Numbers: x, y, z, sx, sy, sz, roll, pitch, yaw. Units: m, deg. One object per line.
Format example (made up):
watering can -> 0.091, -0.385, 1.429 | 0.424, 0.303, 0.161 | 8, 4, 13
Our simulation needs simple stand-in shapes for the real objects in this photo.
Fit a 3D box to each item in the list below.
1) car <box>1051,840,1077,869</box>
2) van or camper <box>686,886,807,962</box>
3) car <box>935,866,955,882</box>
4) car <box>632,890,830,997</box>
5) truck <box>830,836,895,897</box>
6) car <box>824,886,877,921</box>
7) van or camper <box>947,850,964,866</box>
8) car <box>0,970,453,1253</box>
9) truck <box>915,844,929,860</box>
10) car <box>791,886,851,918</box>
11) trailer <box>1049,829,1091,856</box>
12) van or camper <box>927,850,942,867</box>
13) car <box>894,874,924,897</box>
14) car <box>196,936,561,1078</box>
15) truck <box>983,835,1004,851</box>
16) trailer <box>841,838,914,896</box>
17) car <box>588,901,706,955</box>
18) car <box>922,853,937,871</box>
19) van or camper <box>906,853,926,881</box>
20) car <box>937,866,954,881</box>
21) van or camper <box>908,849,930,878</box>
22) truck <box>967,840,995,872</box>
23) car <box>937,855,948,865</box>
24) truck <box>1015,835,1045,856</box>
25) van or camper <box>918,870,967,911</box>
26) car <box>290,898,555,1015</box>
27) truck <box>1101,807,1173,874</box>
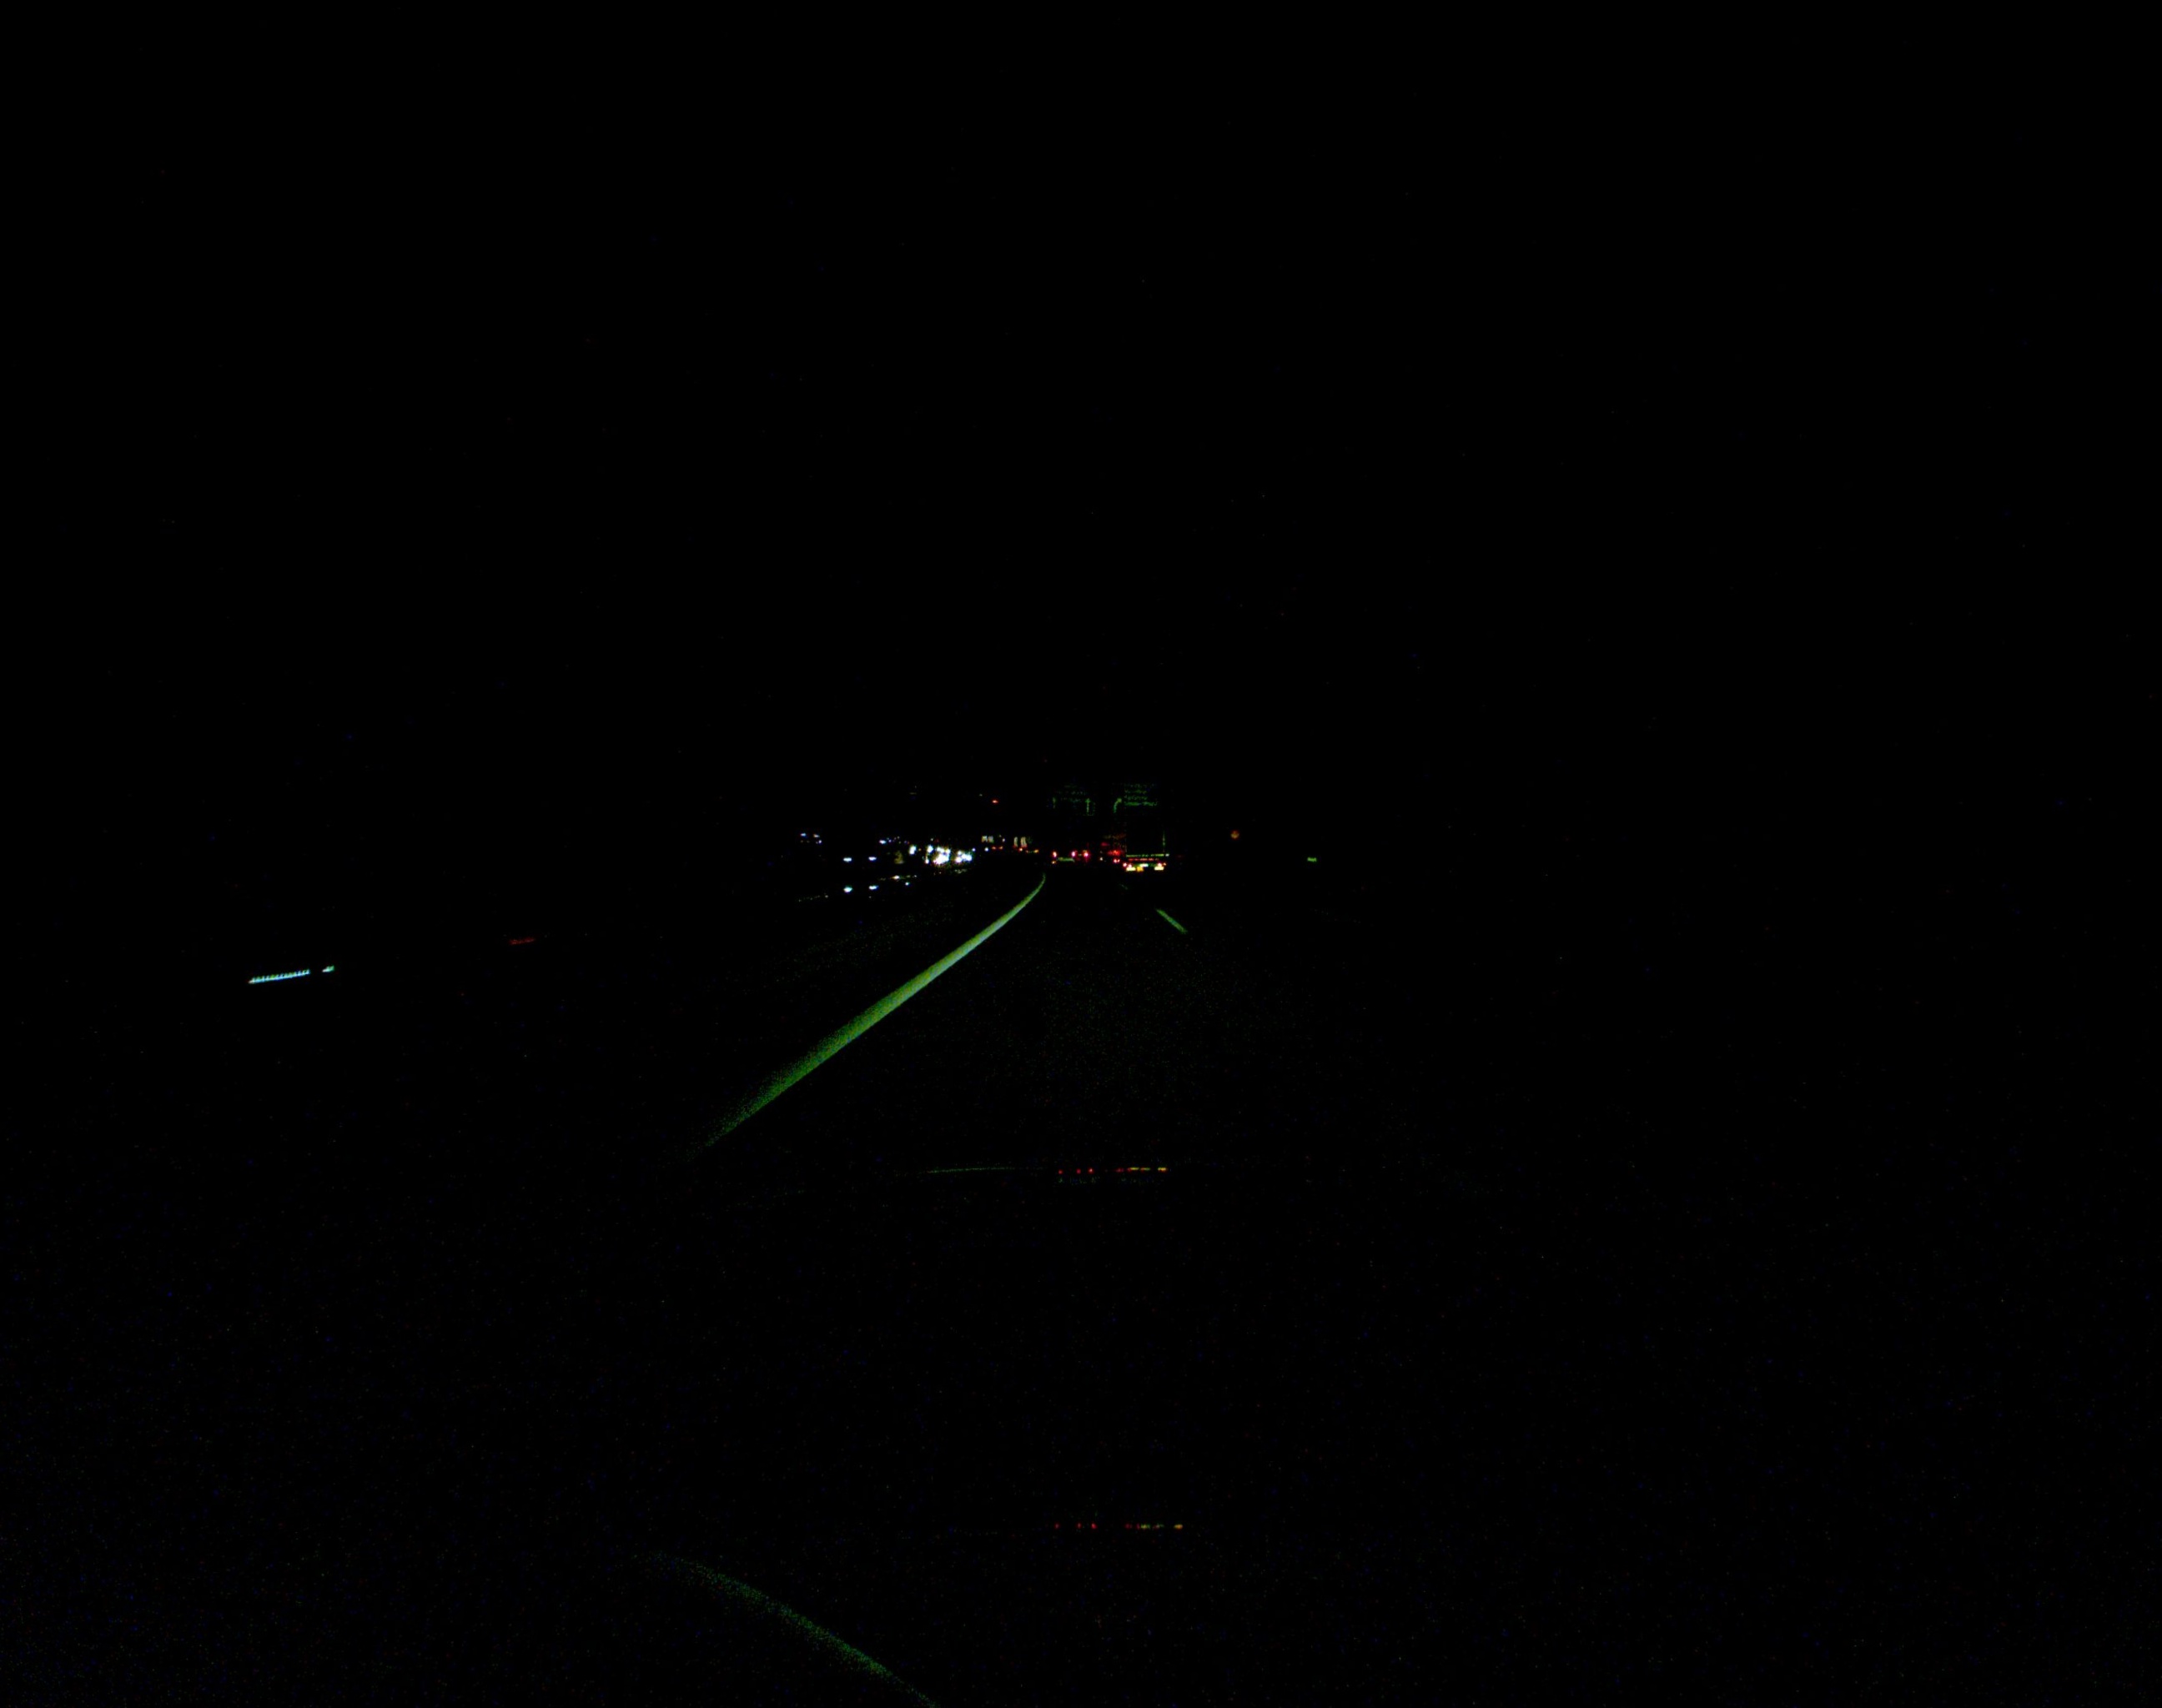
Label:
car -> -1.684, 0.061, 79.341 | 2.332, 2.640, 5.241 | 1, 0, -3
van or camper -> -11.076, 2.227, 27.466 | 1.988, 2.013, 5.217 | -2, 0, -2
car -> -13.852, 1.991, 83.092 | 1.598, 1.442, 3.993 | -4, 0, -5
car -> -7.550, 1.844, 18.293 | 2.132, 1.706, 5.112 | -2, 0, 0
truck -> -16.526, 0.882, 62.102 | 3.412, 4.223, 6.274 | -3, 0, -4
car -> -11.754, 2.492, 41.792 | 1.596, 1.442, 3.998 | -2, 0, -1
van or camper -> -22.232, 0.667, 144.162 | 2.447, 2.760, 6.463 | -3, 0, -12
car -> -9.063, 2.252, 7.745 | 2.132, 1.450, 5.112 | -2, 0, 0
truck -> -36.636, -0.465, 187.732 | 2.381, 3.259, 7.679 | -4, 1, -17
car -> -13.351, 2.437, 42.042 | 1.594, 1.442, 4.003 | 0, 0, 3
trailer -> -1.960, -1.956, 132.904 | 2.862, 4.066, 13.125 | -2, 2, -18
van or camper -> -25.622, 0.816, 142.140 | 2.447, 2.760, 6.463 | -3, 0, -12
car -> -12.478, 2.236, 59.314 | 1.598, 1.442, 4.376 | -2, 0, -5
car -> -12.212, 2.563, 14.822 | 2.132, 1.490, 5.112 | -2, 0, 0
truck -> -25.471, -3.312, 236.810 | 3.352, 4.475, 13.829 | 1, 1, -17
trailer -> -16.880, 0.937, 68.706 | 3.428, 4.240, 12.817 | -3, 0, -3
car -> -14.919, 2.505, 28.265 | 1.831, 1.442, 4.002 | -2, 0, 2
car -> -21.572, 1.145, 116.018 | 1.833, 2.370, 5.430 | -2, 0, -9
van or camper -> -18.795, 1.455, 93.172 | 1.833, 2.971, 6.380 | -2, 0, -9
car -> -14.305, 2.095, 86.103 | 1.605, 1.479, 4.061 | -1, -2, -9
van or camper -> -19.949, 1.089, 100.333 | 2.269, 3.379, 5.676 | -2, 0, -9
truck -> -11.897, 0.223, 97.188 | 2.649, 3.591, 8.540 | -1, 0, -3
car -> -29.356, 1.355, 172.190 | 1.995, 1.959, 4.965 | -3, 0, -12
truck -> -12.505, -2.125, 197.359 | 3.919, 4.626, 20.927 | -3, 2, -13
van or camper -> -7.723, 1.979, 45.918 | 2.025, 2.013, 4.572 | -2, 0, -2
car -> -15.444, 2.273, 19.614 | 2.132, 2.054, 5.112 | -2, 0, 0
truck -> 3.736, -0.859, 60.427 | 3.473, 4.134, 18.695 | -1, 0, -2
